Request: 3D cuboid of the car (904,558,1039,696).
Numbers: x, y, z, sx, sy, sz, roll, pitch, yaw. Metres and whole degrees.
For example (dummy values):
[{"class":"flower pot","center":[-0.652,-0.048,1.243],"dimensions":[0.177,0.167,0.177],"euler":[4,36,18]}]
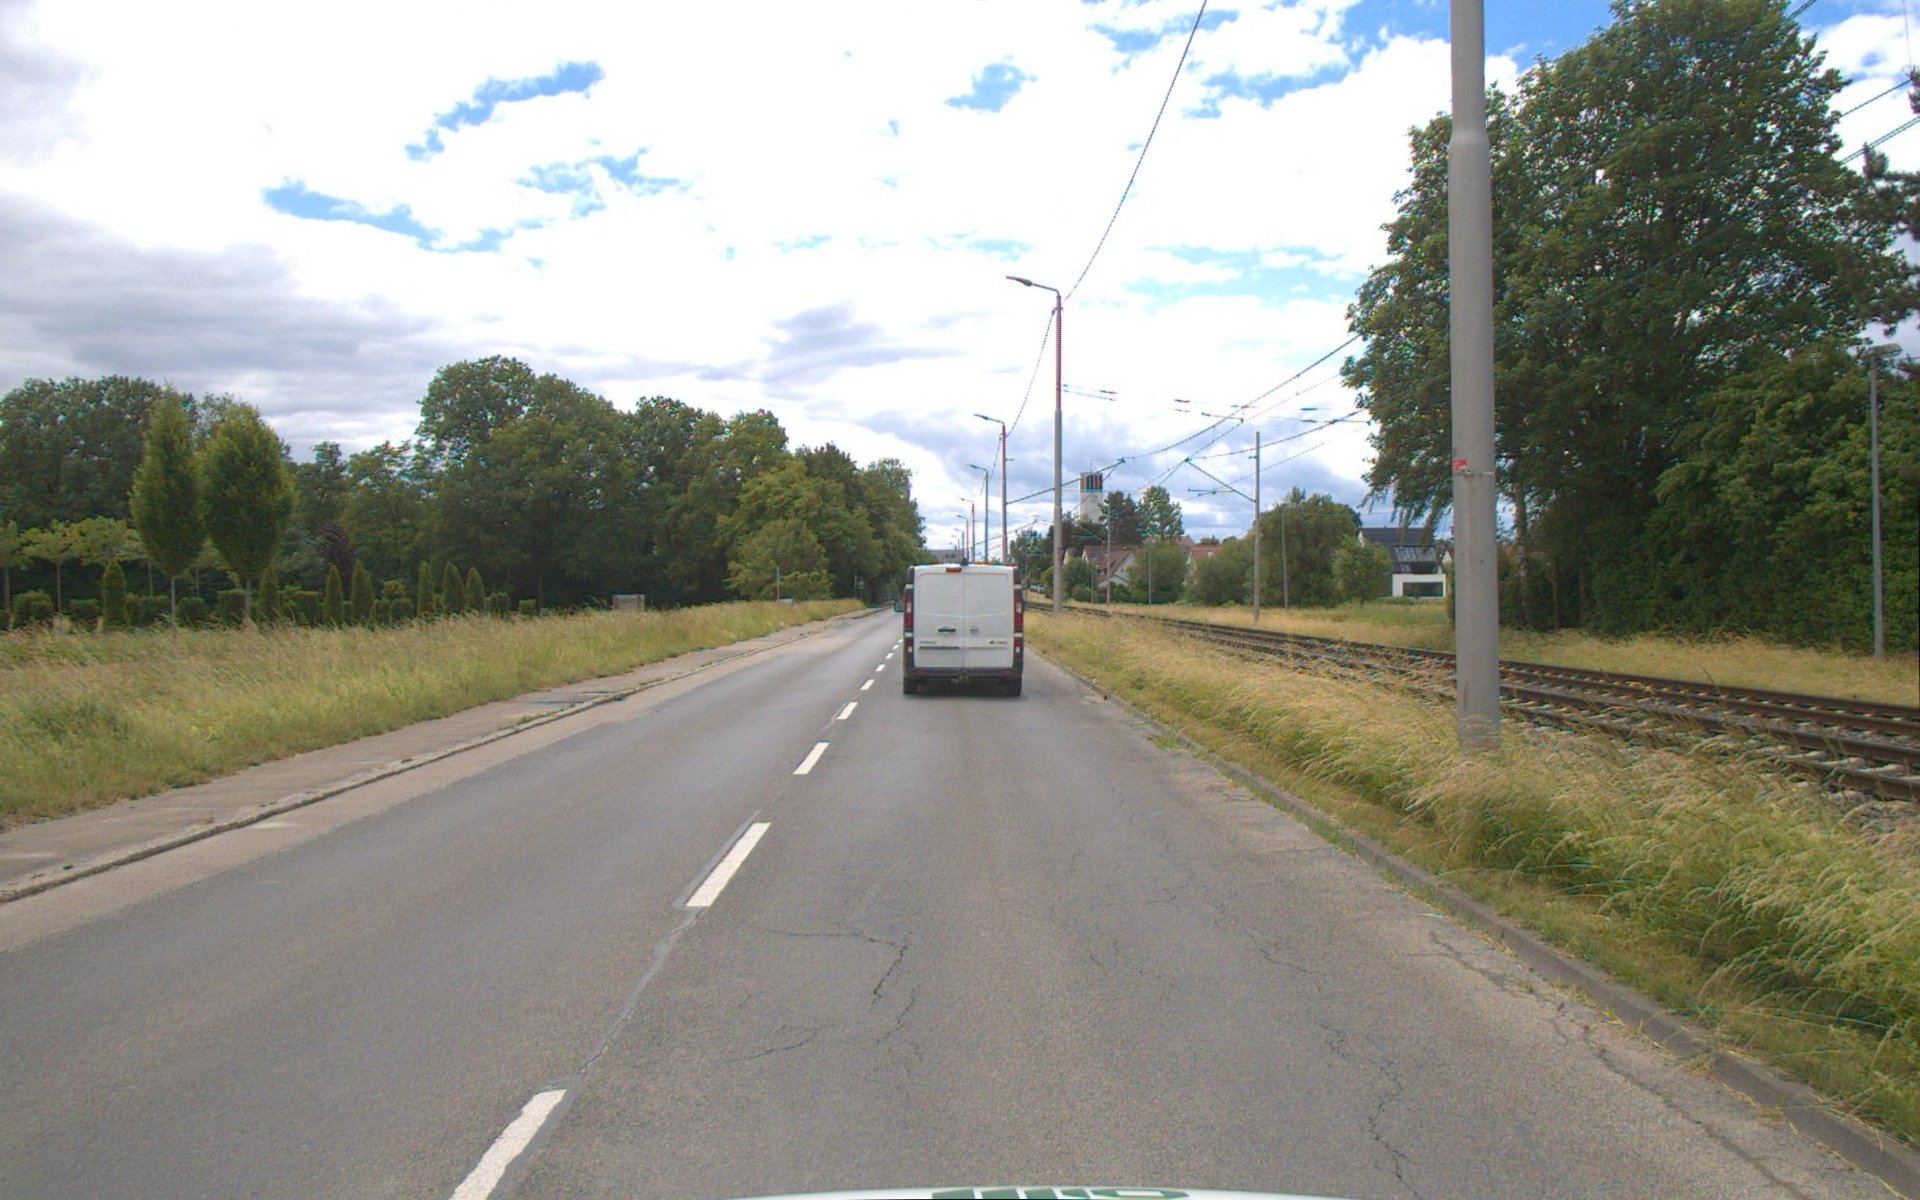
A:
[{"class":"car","center":[0.106,0.403,26.253],"dimensions":[1.953,1.991,3.998],"euler":[1,0,-2]}]
